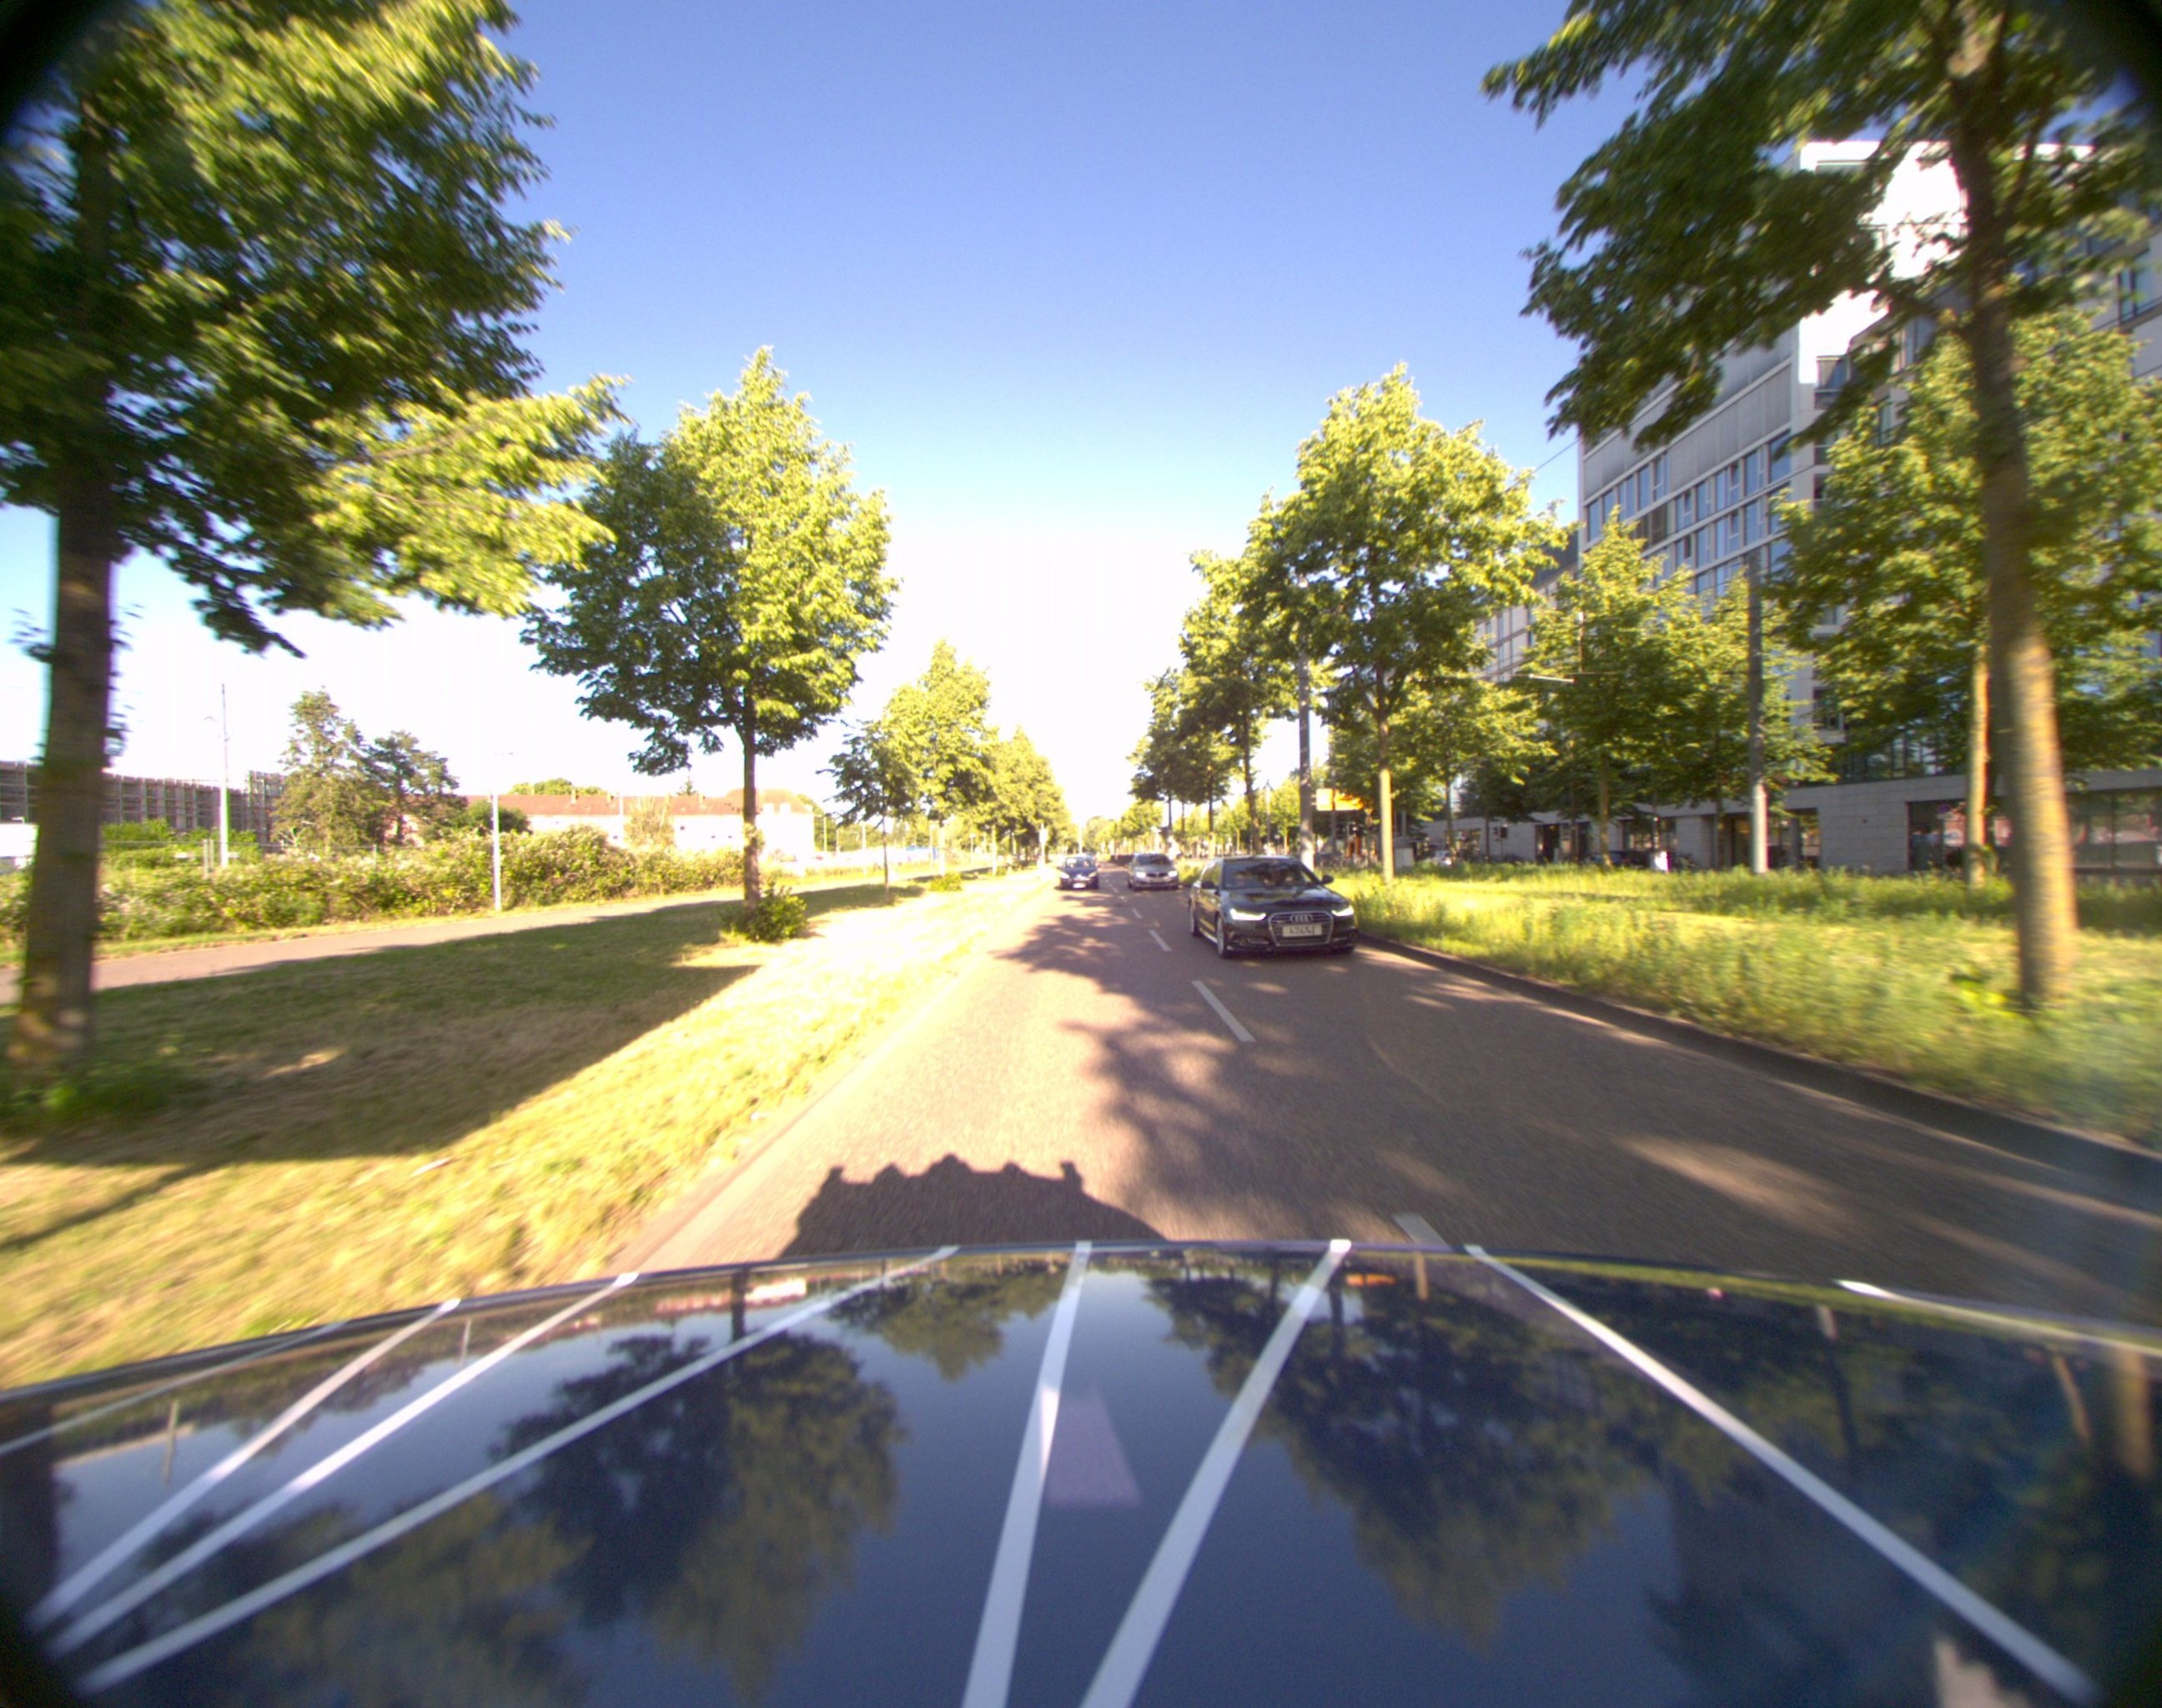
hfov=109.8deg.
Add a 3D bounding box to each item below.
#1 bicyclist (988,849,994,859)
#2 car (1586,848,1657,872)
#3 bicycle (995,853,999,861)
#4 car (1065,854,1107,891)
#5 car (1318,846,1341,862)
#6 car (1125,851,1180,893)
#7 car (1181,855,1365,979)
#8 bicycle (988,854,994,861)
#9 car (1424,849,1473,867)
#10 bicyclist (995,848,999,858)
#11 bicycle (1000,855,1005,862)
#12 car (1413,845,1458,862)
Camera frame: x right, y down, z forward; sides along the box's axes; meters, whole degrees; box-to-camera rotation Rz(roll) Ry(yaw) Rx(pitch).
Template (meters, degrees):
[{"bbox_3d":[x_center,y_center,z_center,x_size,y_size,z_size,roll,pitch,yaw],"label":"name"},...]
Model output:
[{"bbox_3d":[-13.602,-0.036,114.971,0.654,1.544,0.794,-1,1,1],"label":"bicyclist"},{"bbox_3d":[31.418,0.310,44.279,1.654,1.228,3.464,-1,2,0],"label":"car"},{"bbox_3d":[-12.705,0.484,114.668,0.507,1.145,1.604,1,0,0],"label":"bicycle"},{"bbox_3d":[0.172,0.779,34.521,1.763,1.506,3.947,-1,1,-1],"label":"car"},{"bbox_3d":[32.433,-0.025,99.391,1.804,1.915,3.999,-1,2,1],"label":"car"},{"bbox_3d":[2.901,0.686,31.594,1.849,1.560,4.528,-1,0,0],"label":"car"},{"bbox_3d":[2.797,0.816,12.149,1.788,1.518,4.601,-2,0,1],"label":"car"},{"bbox_3d":[-13.575,0.552,114.974,0.657,1.006,1.820,-2,0,1],"label":"bicycle"},{"bbox_3d":[26.127,0.258,54.154,1.773,1.231,3.484,-2,0,0],"label":"car"},{"bbox_3d":[-12.732,-0.148,114.669,0.504,1.464,0.833,-1,1,-1],"label":"bicyclist"},{"bbox_3d":[-13.035,0.753,125.902,0.593,0.955,1.899,-1,2,-1],"label":"bicycle"},{"bbox_3d":[31.923,-0.080,68.531,1.963,1.412,4.545,-1,0,1],"label":"car"}]
